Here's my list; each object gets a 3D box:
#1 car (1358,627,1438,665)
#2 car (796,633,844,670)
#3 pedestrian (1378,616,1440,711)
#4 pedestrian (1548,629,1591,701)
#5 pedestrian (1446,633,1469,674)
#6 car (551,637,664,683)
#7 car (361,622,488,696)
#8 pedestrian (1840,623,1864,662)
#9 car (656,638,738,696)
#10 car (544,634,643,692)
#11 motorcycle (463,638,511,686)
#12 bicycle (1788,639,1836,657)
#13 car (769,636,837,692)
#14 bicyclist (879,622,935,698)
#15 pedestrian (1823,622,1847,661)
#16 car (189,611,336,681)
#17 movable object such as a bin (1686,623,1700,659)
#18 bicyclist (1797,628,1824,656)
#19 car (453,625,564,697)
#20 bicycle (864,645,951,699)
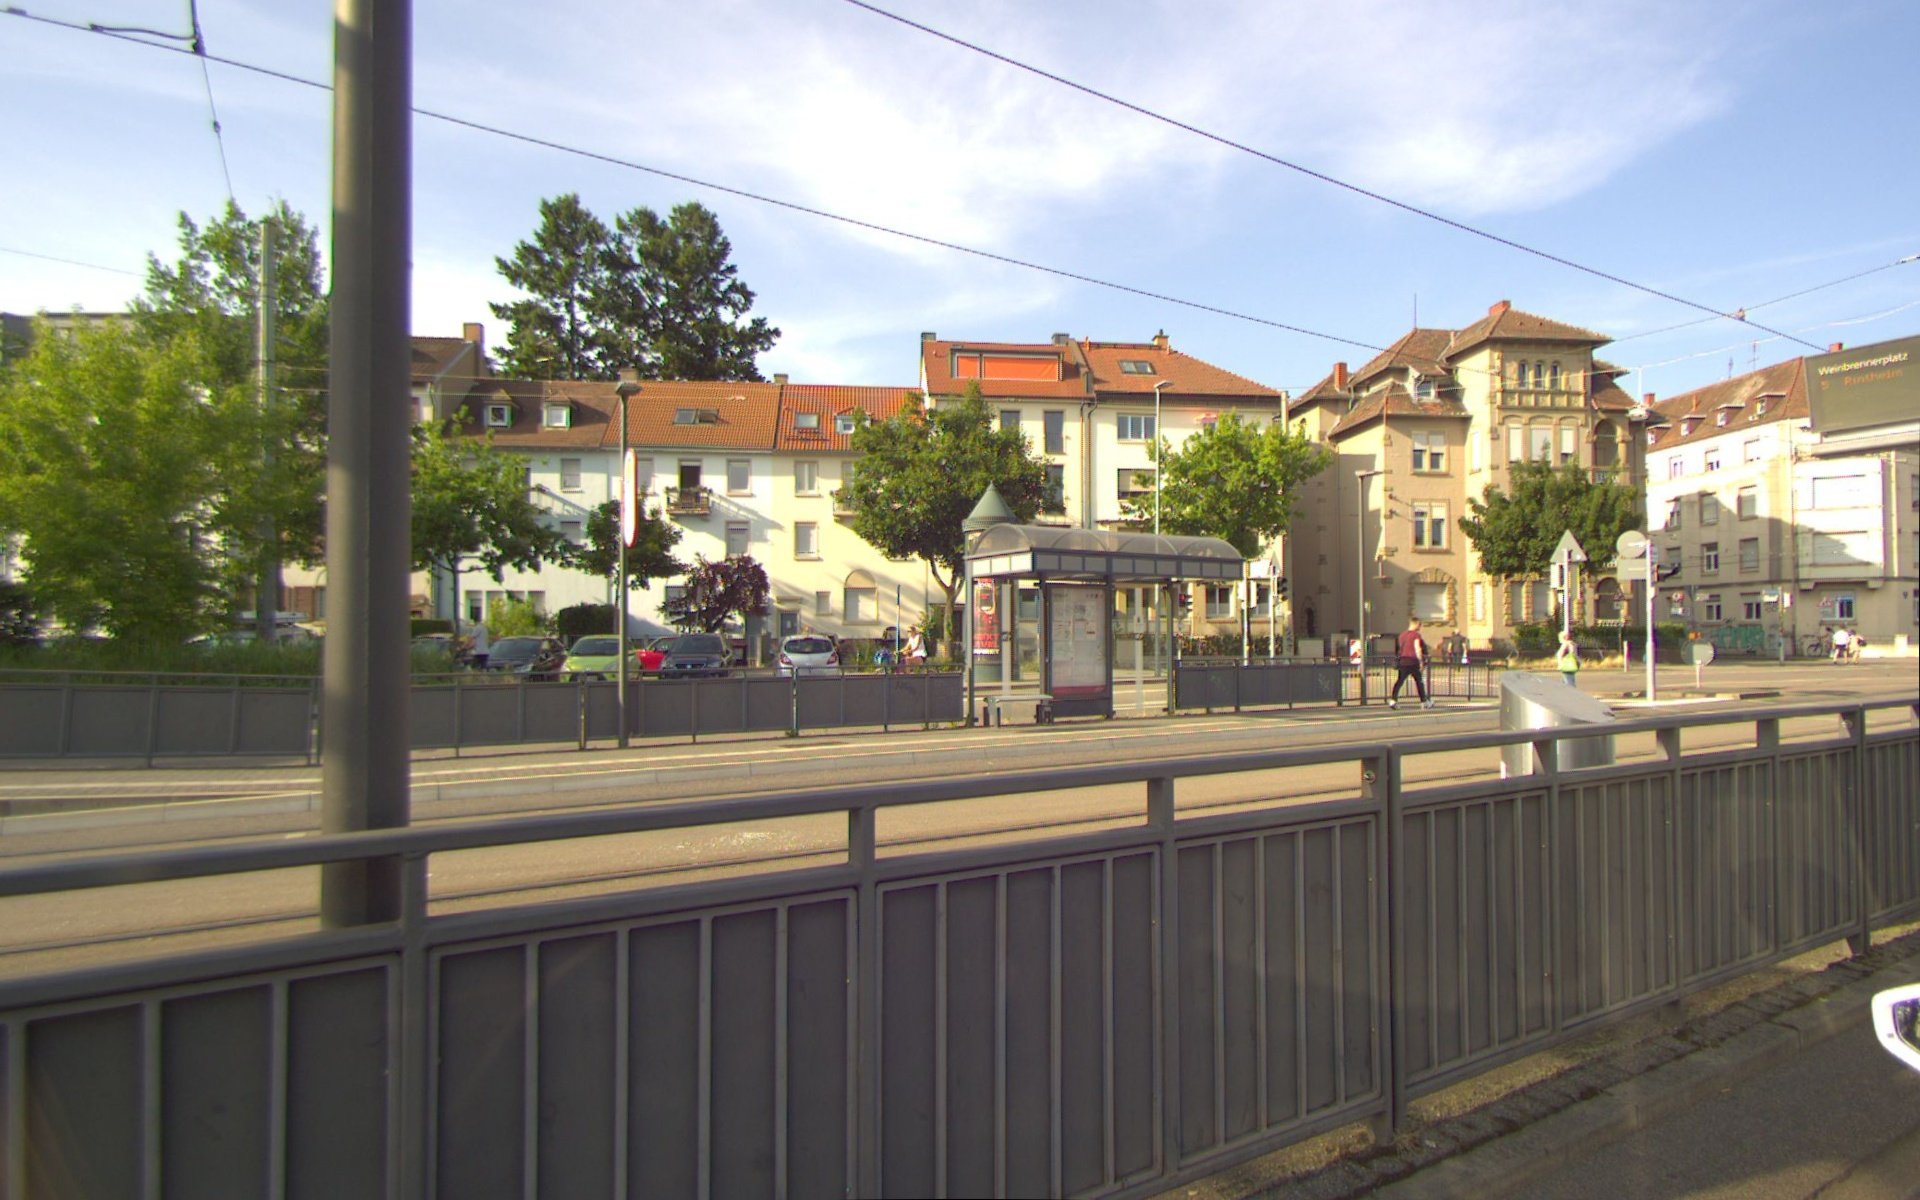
[{"bbox_3d":[20.444,2.135,47.071,1.742,1.653,3.998,0,-2,-5],"label":"car"},{"bbox_3d":[-6.147,2.243,44.373,1.821,1.578,3.998,0,-2,-4],"label":"car"},{"bbox_3d":[8.233,1.148,18.423,0.874,1.692,0.666,1,-2,-33],"label":"pedestrian"},{"bbox_3d":[13.987,1.476,23.061,0.708,1.610,0.586,1,-2,-34],"label":"pedestrian"},{"bbox_3d":[20.400,2.189,41.218,0.592,1.673,0.681,0,-1,-3],"label":"pedestrian"},{"bbox_3d":[-12.181,2.053,34.875,3.444,1.544,1.567,0,-2,-7],"label":"car"},{"bbox_3d":[-13.883,1.493,26.302,1.822,1.777,3.993,0,-2,-11],"label":"car"},{"bbox_3d":[43.496,2.058,48.989,0.642,1.872,0.670,1,-2,-32],"label":"pedestrian"},{"bbox_3d":[-7.066,1.753,27.355,1.740,1.447,3.995,0,-2,-9],"label":"car"},{"bbox_3d":[-9.728,1.634,26.948,1.740,1.447,3.995,0,-2,-9],"label":"car"},{"bbox_3d":[-10.781,1.395,22.895,0.912,1.065,0.496,1,-2,-37],"label":"motorcycle"},{"bbox_3d":[48.848,2.731,57.621,0.735,1.019,1.978,1,-2,-34],"label":"bicycle"},{"bbox_3d":[-4.369,1.719,27.984,1.740,1.447,3.995,0,-2,-9],"label":"car"},{"bbox_3d":[-1.209,1.340,22.856,1.059,1.646,0.701,0,1,-29],"label":"bicyclist"},{"bbox_3d":[43.304,2.036,49.708,0.616,1.905,0.659,0,-2,-15],"label":"pedestrian"},{"bbox_3d":[-18.960,1.243,27.540,1.822,1.777,3.993,0,-2,-11],"label":"car"},{"bbox_3d":[36.895,2.049,50.565,0.259,1.732,2.379,-1,-2,29],"label":"movable object such as a bin"},{"bbox_3d":[48.821,2.434,57.661,0.655,1.590,1.033,1,-2,-34],"label":"bicyclist"},{"bbox_3d":[-11.971,1.575,26.920,1.822,1.777,3.993,0,-2,-11],"label":"car"},{"bbox_3d":[-1.188,1.610,22.858,1.842,1.125,0.722,1,1,-30],"label":"bicycle"}]
